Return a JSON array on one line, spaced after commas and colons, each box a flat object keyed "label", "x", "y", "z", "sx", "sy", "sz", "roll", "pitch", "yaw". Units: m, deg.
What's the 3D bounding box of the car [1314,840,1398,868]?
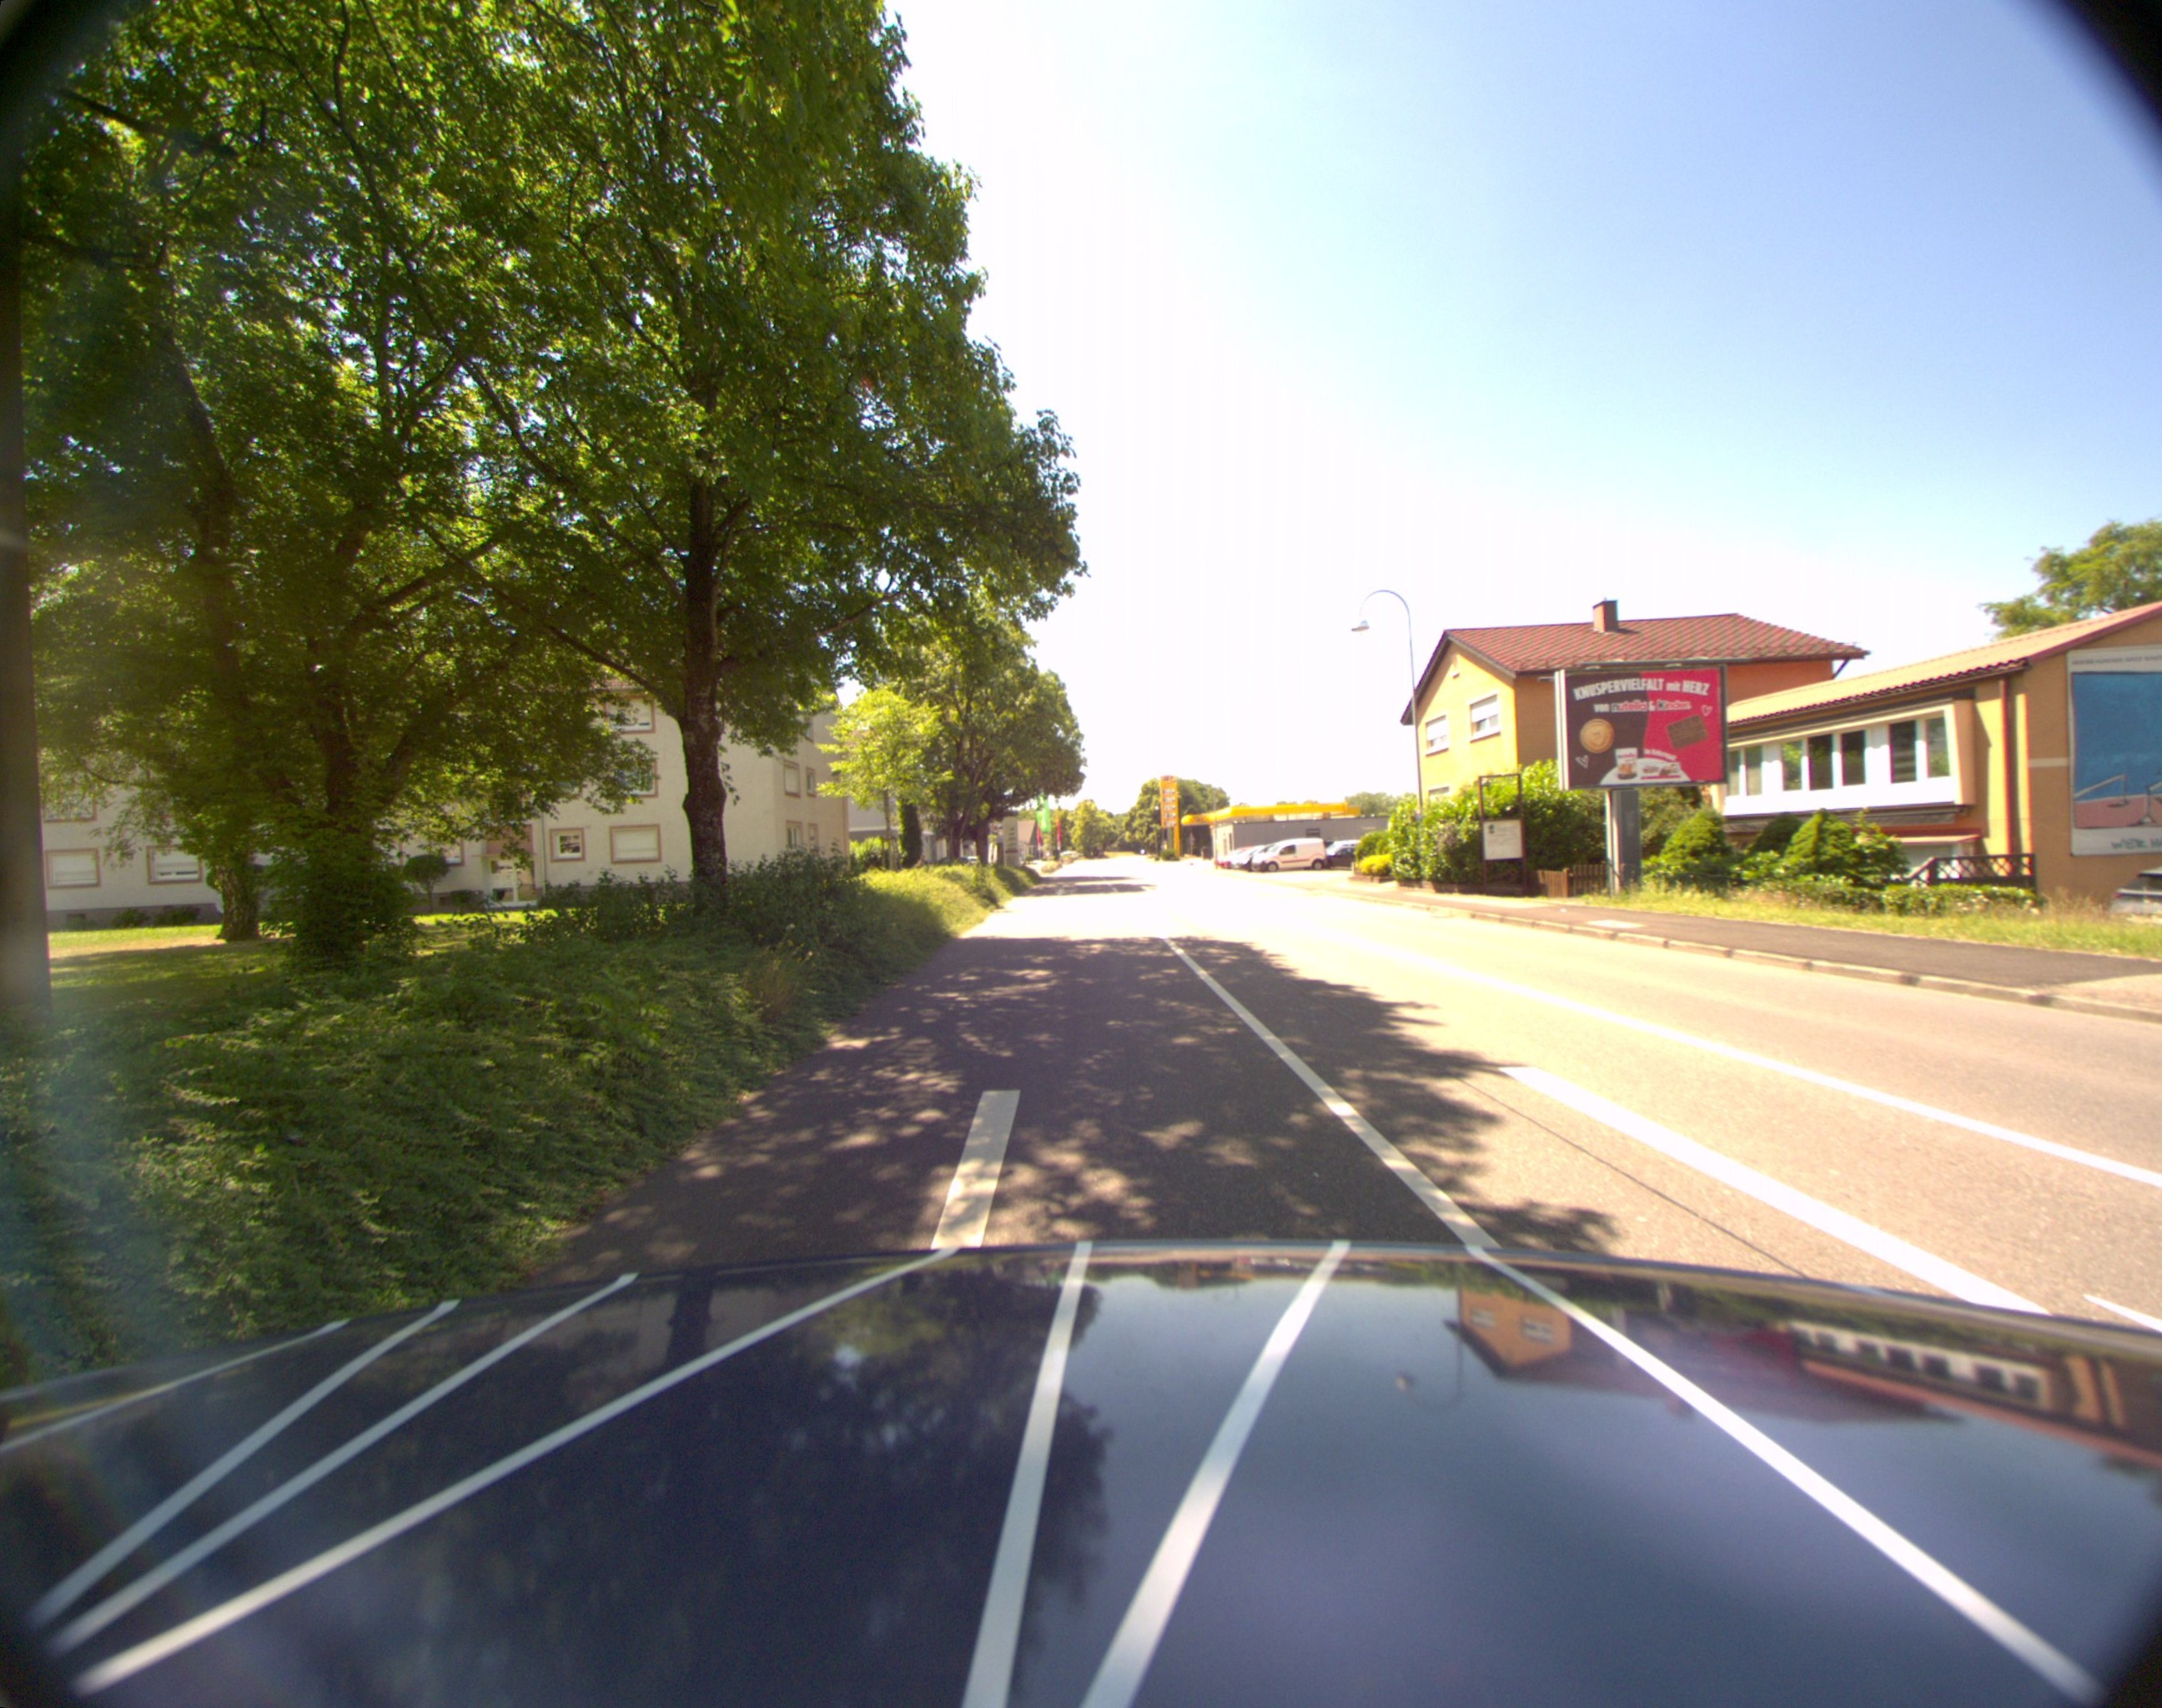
[{"label": "car", "x": 16.742, "y": -0.036, "z": 46.383, "sx": 4.402, "sy": 1.554, "sz": 1.874, "roll": -2, "pitch": 1, "yaw": -5}]

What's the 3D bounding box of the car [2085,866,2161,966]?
[{"label": "car", "x": 19.879, "y": 0.994, "z": 12.398, "sx": 4.224, "sy": 1.599, "sz": 1.772, "roll": -1, "pitch": 1, "yaw": 7}]

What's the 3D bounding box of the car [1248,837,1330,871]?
[{"label": "car", "x": 12.134, "y": -0.024, "z": 44.411, "sx": 4.191, "sy": 1.858, "sz": 1.874, "roll": -2, "pitch": 1, "yaw": -5}]

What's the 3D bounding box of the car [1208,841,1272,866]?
[{"label": "car", "x": 12.113, "y": -0.017, "z": 58.024, "sx": 4.402, "sy": 1.750, "sz": 1.874, "roll": -2, "pitch": 1, "yaw": -5}]

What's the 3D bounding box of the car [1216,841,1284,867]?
[{"label": "car", "x": 12.260, "y": 0.003, "z": 55.313, "sx": 4.402, "sy": 1.750, "sz": 1.874, "roll": -2, "pitch": 1, "yaw": -5}]

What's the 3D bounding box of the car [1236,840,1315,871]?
[{"label": "car", "x": 11.890, "y": 0.090, "z": 46.536, "sx": 4.246, "sy": 1.750, "sz": 1.874, "roll": -2, "pitch": 1, "yaw": -5}]

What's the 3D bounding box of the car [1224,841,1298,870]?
[{"label": "car", "x": 12.055, "y": 0.098, "z": 51.062, "sx": 4.402, "sy": 1.750, "sz": 1.874, "roll": -2, "pitch": 1, "yaw": -5}]

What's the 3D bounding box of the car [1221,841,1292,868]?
[{"label": "car", "x": 12.297, "y": 0.018, "z": 53.386, "sx": 4.402, "sy": 1.750, "sz": 1.874, "roll": -2, "pitch": 1, "yaw": -5}]

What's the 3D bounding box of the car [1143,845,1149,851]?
[{"label": "car", "x": 19.544, "y": -1.739, "z": 227.945, "sx": 1.808, "sy": 1.552, "sz": 4.065, "roll": -2, "pitch": 1, "yaw": 7}]

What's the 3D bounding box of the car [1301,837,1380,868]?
[{"label": "car", "x": 16.570, "y": -0.119, "z": 48.638, "sx": 4.402, "sy": 1.815, "sz": 1.874, "roll": -2, "pitch": 1, "yaw": -5}]
